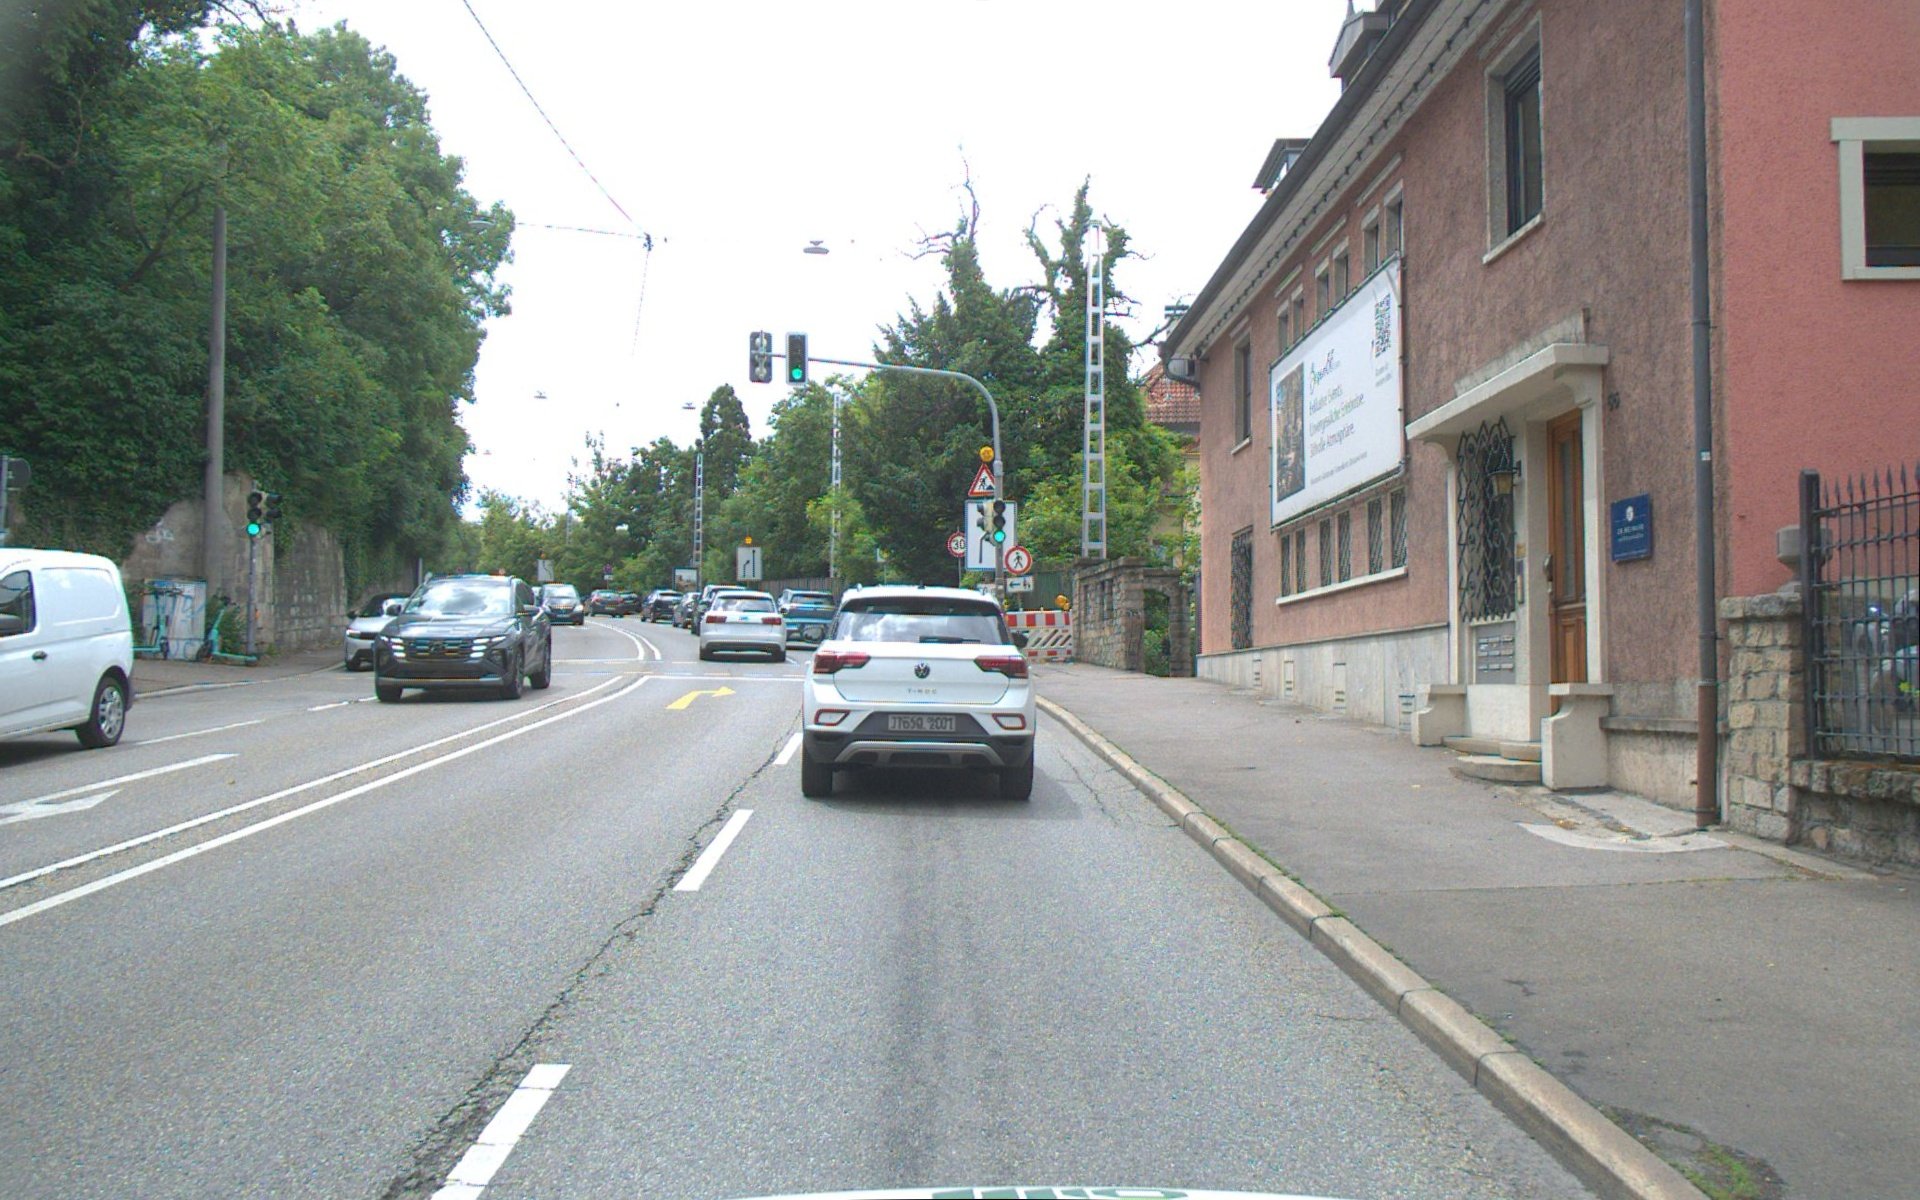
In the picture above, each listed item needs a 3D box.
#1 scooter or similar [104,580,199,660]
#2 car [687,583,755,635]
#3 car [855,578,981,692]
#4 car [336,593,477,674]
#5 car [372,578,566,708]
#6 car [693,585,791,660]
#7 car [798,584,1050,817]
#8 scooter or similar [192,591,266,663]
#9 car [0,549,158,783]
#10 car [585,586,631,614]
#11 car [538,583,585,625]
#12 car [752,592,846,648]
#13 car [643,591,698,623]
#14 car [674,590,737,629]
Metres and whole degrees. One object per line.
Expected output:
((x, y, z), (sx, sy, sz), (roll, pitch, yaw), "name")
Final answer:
((-14.408, 0.367, 29.514), (0.425, 1.258, 1.346), (5, -5, 32), "scooter or similar")
((-7.909, 0.265, 54.441), (1.958, 1.583, 4.139), (2, 0, -11), "car")
((-0.739, 0.531, 26.389), (1.723, 1.638, 3.791), (2, 0, -5), "car")
((-10.836, 0.612, 32.653), (1.682, 1.427, 4.020), (-1, 1, -4), "car")
((-6.818, 0.529, 23.404), (1.813, 1.661, 4.356), (1, 1, -6), "car")
((-4.777, 0.467, 35.903), (1.727, 1.497, 3.783), (2, 0, -13), "car")
((-0.354, 0.720, 13.521), (1.723, 1.583, 3.793), (2, 0, -3), "car")
((-13.567, 0.507, 30.723), (0.426, 1.259, 1.093), (4, -1, 39), "scooter or similar")
((-8.674, 0.508, 13.929), (1.855, 1.880, 4.393), (2, 0, -4), "car")
((-19.129, -0.016, 89.737), (1.756, 1.480, 3.973), (1, 0, -22), "car")
((-15.920, 0.143, 65.974), (1.725, 1.594, 3.665), (0, 0, -15), "car")
((-4.386, 0.528, 44.451), (1.960, 1.439, 4.135), (0, -1, -14), "car")
((-13.538, 0.327, 77.224), (1.963, 1.475, 4.128), (1, 0, -19), "car")
((-10.165, 0.385, 65.816), (1.961, 1.475, 4.132), (1, 0, -16), "car")
